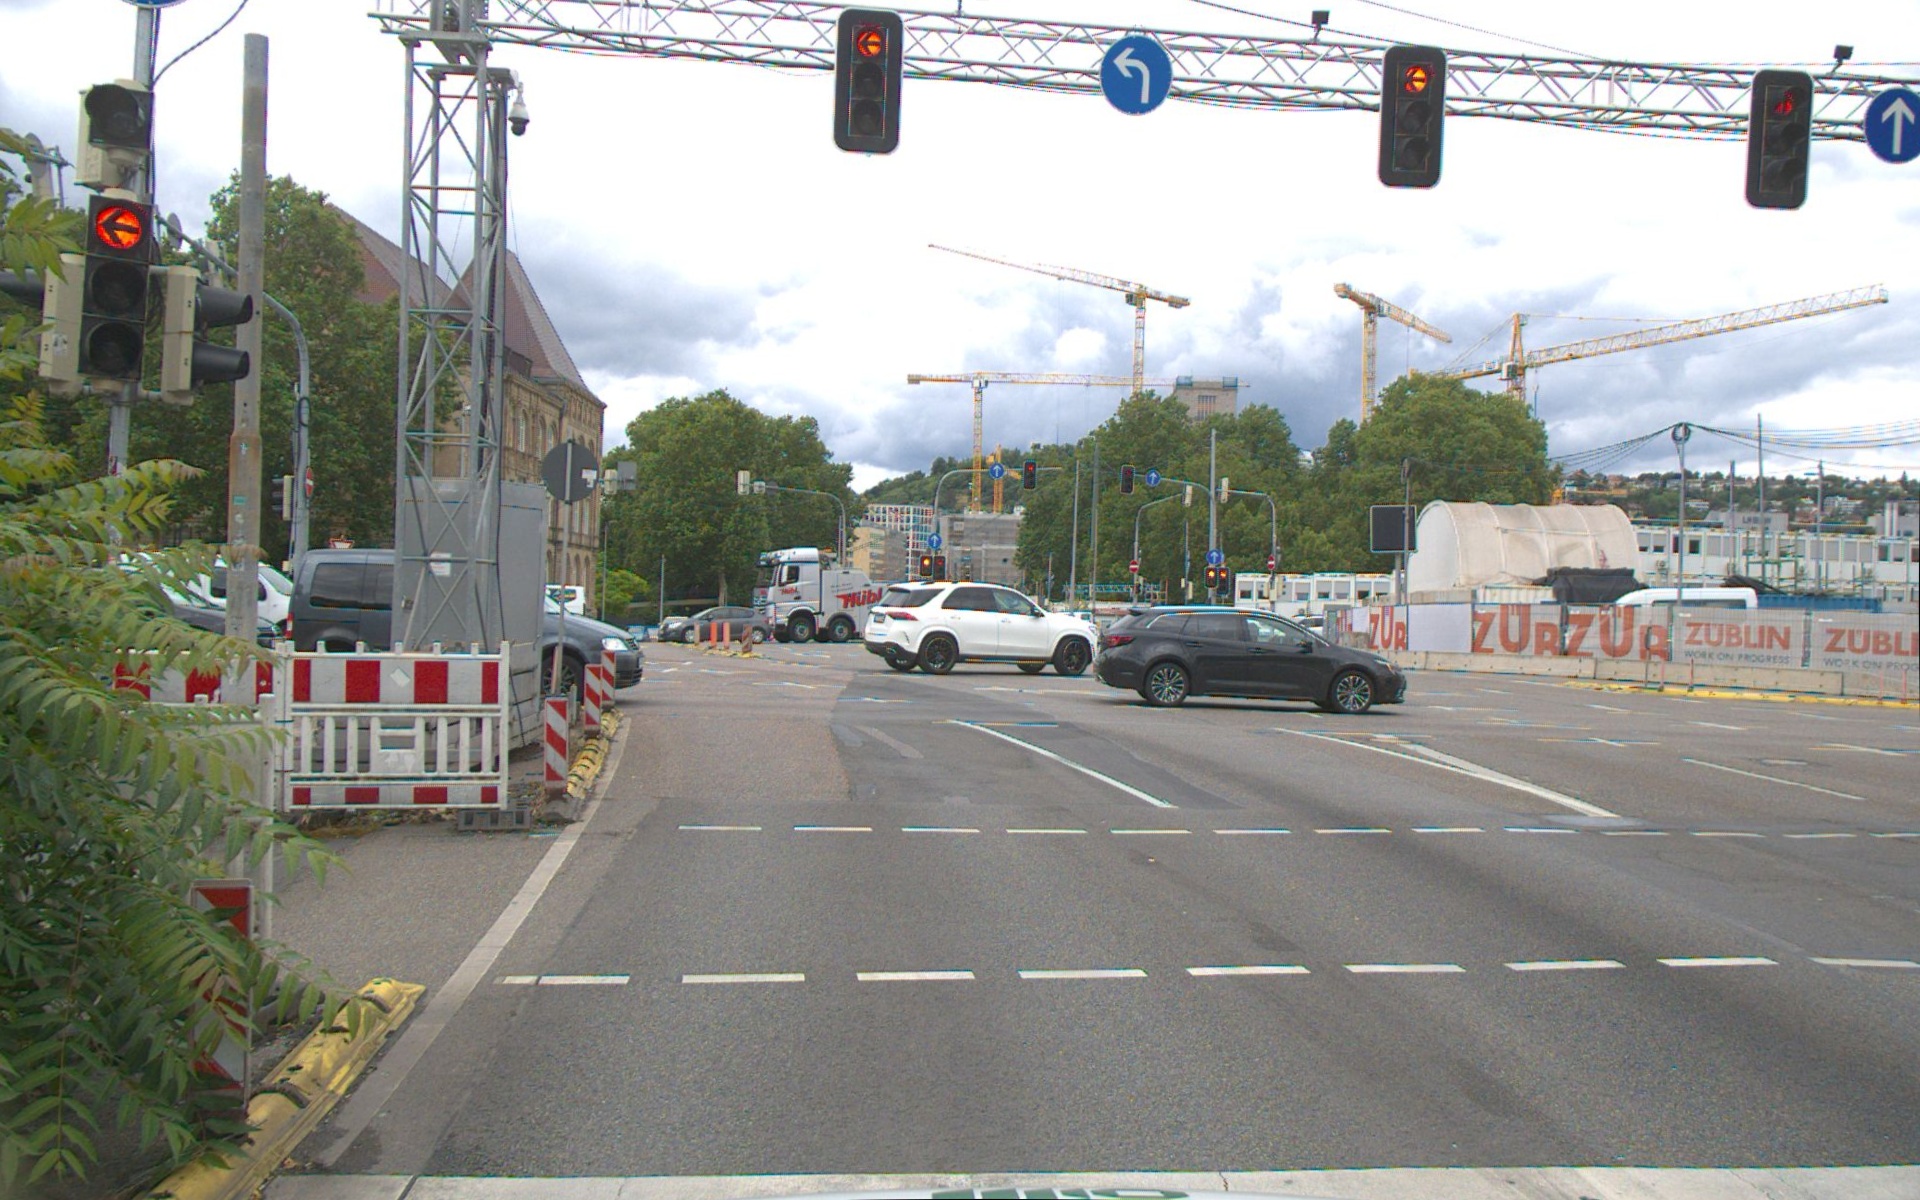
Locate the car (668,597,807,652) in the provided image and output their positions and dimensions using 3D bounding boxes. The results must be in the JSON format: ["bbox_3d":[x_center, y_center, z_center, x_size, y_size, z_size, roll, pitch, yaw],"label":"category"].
[{"bbox_3d":[-8.717,0.970,64.891,5.061,2.049,2.062,1,0,-24],"label":"car"}]

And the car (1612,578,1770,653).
[{"bbox_3d":[21.056,0.447,47.816,3.902,2.049,2.001,1,0,15],"label":"car"}]

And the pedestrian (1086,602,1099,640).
[{"bbox_3d":[6.625,1.051,82.631,0.574,1.872,0.604,1,-1,-4],"label":"pedestrian"}]

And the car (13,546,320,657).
[{"bbox_3d":[-14.316,0.032,30.066,4.613,1.865,1.869,1,0,-4],"label":"car"}]

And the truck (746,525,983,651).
[{"bbox_3d":[-4.037,-0.426,70.434,9.584,5.047,3.091,1,-1,-24],"label":"truck"}]

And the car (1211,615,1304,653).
[{"bbox_3d":[14.286,1.648,79.418,4.093,1.754,1.894,1,0,-24],"label":"car"}]

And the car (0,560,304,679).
[{"bbox_3d":[-11.800,0.264,23.668,4.026,1.574,1.998,1,0,-5],"label":"car"}]

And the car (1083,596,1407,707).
[{"bbox_3d":[4.110,0.733,24.395,4.399,1.492,1.999,1,0,-2],"label":"car"}]

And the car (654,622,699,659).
[{"bbox_3d":[-15.423,2.175,90.092,1.954,1.870,3.997,1,0,-3],"label":"car"}]

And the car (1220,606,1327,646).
[{"bbox_3d":[14.367,1.190,75.784,4.523,1.754,1.895,1,0,-24],"label":"car"}]

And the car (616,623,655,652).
[{"bbox_3d":[-21.668,2.491,110.531,1.954,1.870,3.997,1,0,-3],"label":"car"}]

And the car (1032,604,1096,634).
[{"bbox_3d":[6.027,1.110,95.967,1.841,1.680,3.959,1,0,-30],"label":"car"}]

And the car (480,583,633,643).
[{"bbox_3d":[-14.446,0.471,59.186,5.061,2.049,2.062,1,0,-24],"label":"car"}]

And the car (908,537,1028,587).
[{"bbox_3d":[0.286,-1.396,62.210,4.104,1.731,1.955,1,0,-20],"label":"car"}]

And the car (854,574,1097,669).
[{"bbox_3d":[0.302,0.441,32.874,4.428,1.790,1.986,1,0,-23],"label":"car"}]

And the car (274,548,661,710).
[{"bbox_3d":[-5.983,0.355,20.522,4.183,1.837,1.999,1,-1,-2],"label":"car"}]

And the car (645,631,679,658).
[{"bbox_3d":[-22.399,3.340,124.398,1.954,1.870,3.997,1,0,-3],"label":"car"}]

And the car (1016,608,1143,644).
[{"bbox_3d":[5.173,1.123,71.532,5.066,1.444,2.220,1,0,-24],"label":"car"}]
